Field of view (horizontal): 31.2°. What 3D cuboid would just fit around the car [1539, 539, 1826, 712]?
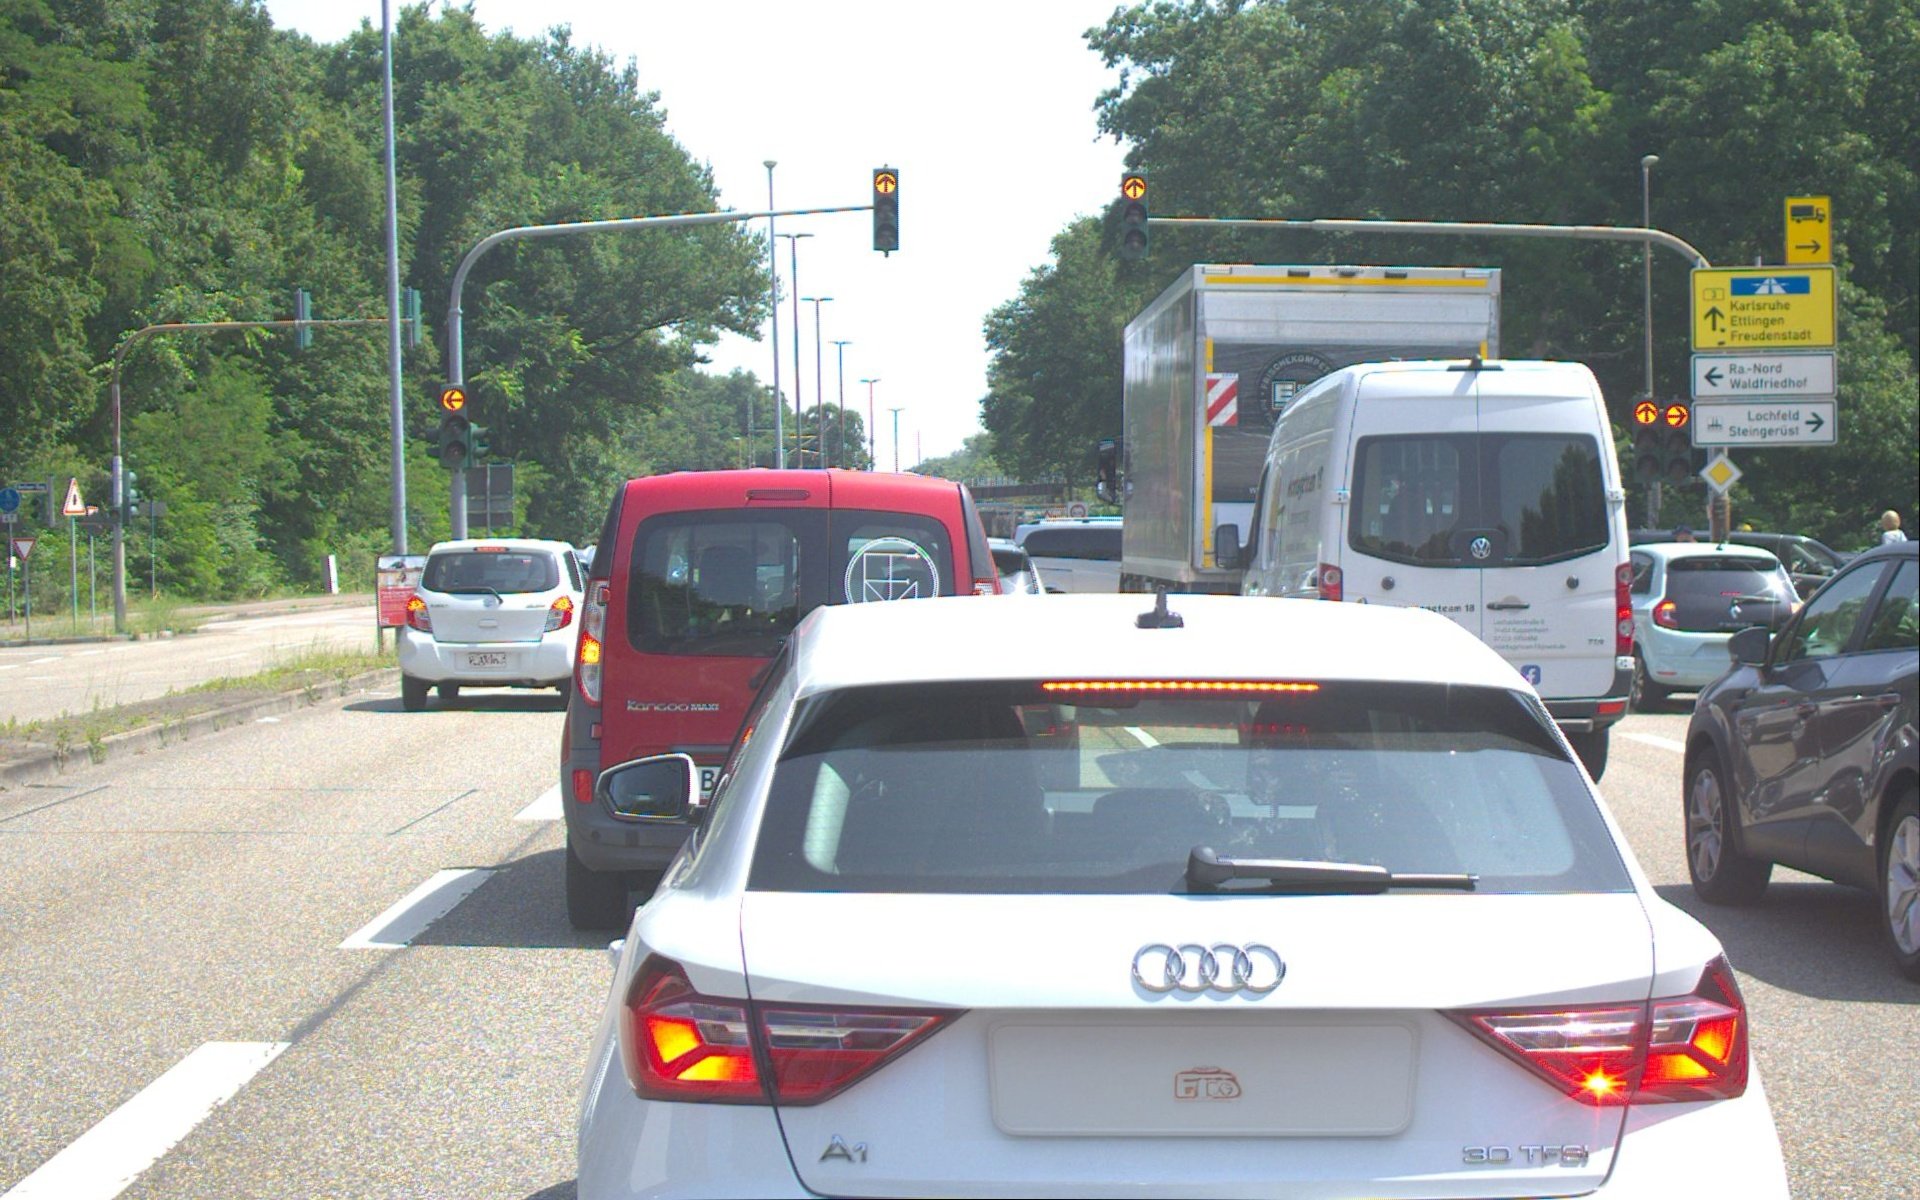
[{"bbox_3d":[6.803,0.188,32.756,1.711,1.541,4.092,0,1,-2],"label":"car"}]

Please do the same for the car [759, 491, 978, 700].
[{"bbox_3d":[-0.799,-0.074,28.897,1.711,1.626,4.092,0,1,-2],"label":"car"}]

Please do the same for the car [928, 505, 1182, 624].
[{"bbox_3d":[1.660,-0.626,60.533,3.995,2.007,1.996,0,1,35],"label":"car"}]

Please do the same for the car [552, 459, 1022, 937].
[{"bbox_3d":[-0.715,0.320,14.600,1.711,1.742,4.092,0,1,-2],"label":"car"}]

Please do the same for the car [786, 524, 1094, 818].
[{"bbox_3d":[-0.196,0.356,21.128,1.711,1.626,4.092,0,1,-2],"label":"car"}]

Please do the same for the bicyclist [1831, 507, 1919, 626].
[{"bbox_3d":[11.197,-0.406,42.083,0.828,1.434,0.598,0,1,44],"label":"bicyclist"}]

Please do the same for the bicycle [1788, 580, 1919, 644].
[{"bbox_3d":[11.130,0.144,42.163,1.826,0.763,0.599,0,1,43],"label":"bicycle"}]

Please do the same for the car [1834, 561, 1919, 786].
[{"bbox_3d":[6.757,0.482,21.165,1.638,1.366,4.146,1,1,0],"label":"car"}]

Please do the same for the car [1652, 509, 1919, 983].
[{"bbox_3d":[3.999,0.459,13.176,1.711,1.587,4.092,0,1,-2],"label":"car"}]

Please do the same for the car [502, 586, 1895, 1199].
[{"bbox_3d":[0.213,0.694,6.266,1.711,1.381,4.092,0,1,-2],"label":"car"}]

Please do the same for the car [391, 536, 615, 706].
[{"bbox_3d":[-4.207,0.143,32.150,1.711,1.487,4.092,0,1,-2],"label":"car"}]

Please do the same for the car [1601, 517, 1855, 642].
[{"bbox_3d":[13.035,-0.363,58.535,3.988,2.007,2.000,-1,1,6],"label":"car"}]

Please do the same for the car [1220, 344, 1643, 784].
[{"bbox_3d":[3.011,-0.260,23.018,2.031,2.635,4.846,0,1,-2],"label":"car"}]

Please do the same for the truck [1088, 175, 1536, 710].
[{"bbox_3d":[3.141,-1.413,34.378,3.088,4.418,11.581,0,1,-1],"label":"truck"}]
